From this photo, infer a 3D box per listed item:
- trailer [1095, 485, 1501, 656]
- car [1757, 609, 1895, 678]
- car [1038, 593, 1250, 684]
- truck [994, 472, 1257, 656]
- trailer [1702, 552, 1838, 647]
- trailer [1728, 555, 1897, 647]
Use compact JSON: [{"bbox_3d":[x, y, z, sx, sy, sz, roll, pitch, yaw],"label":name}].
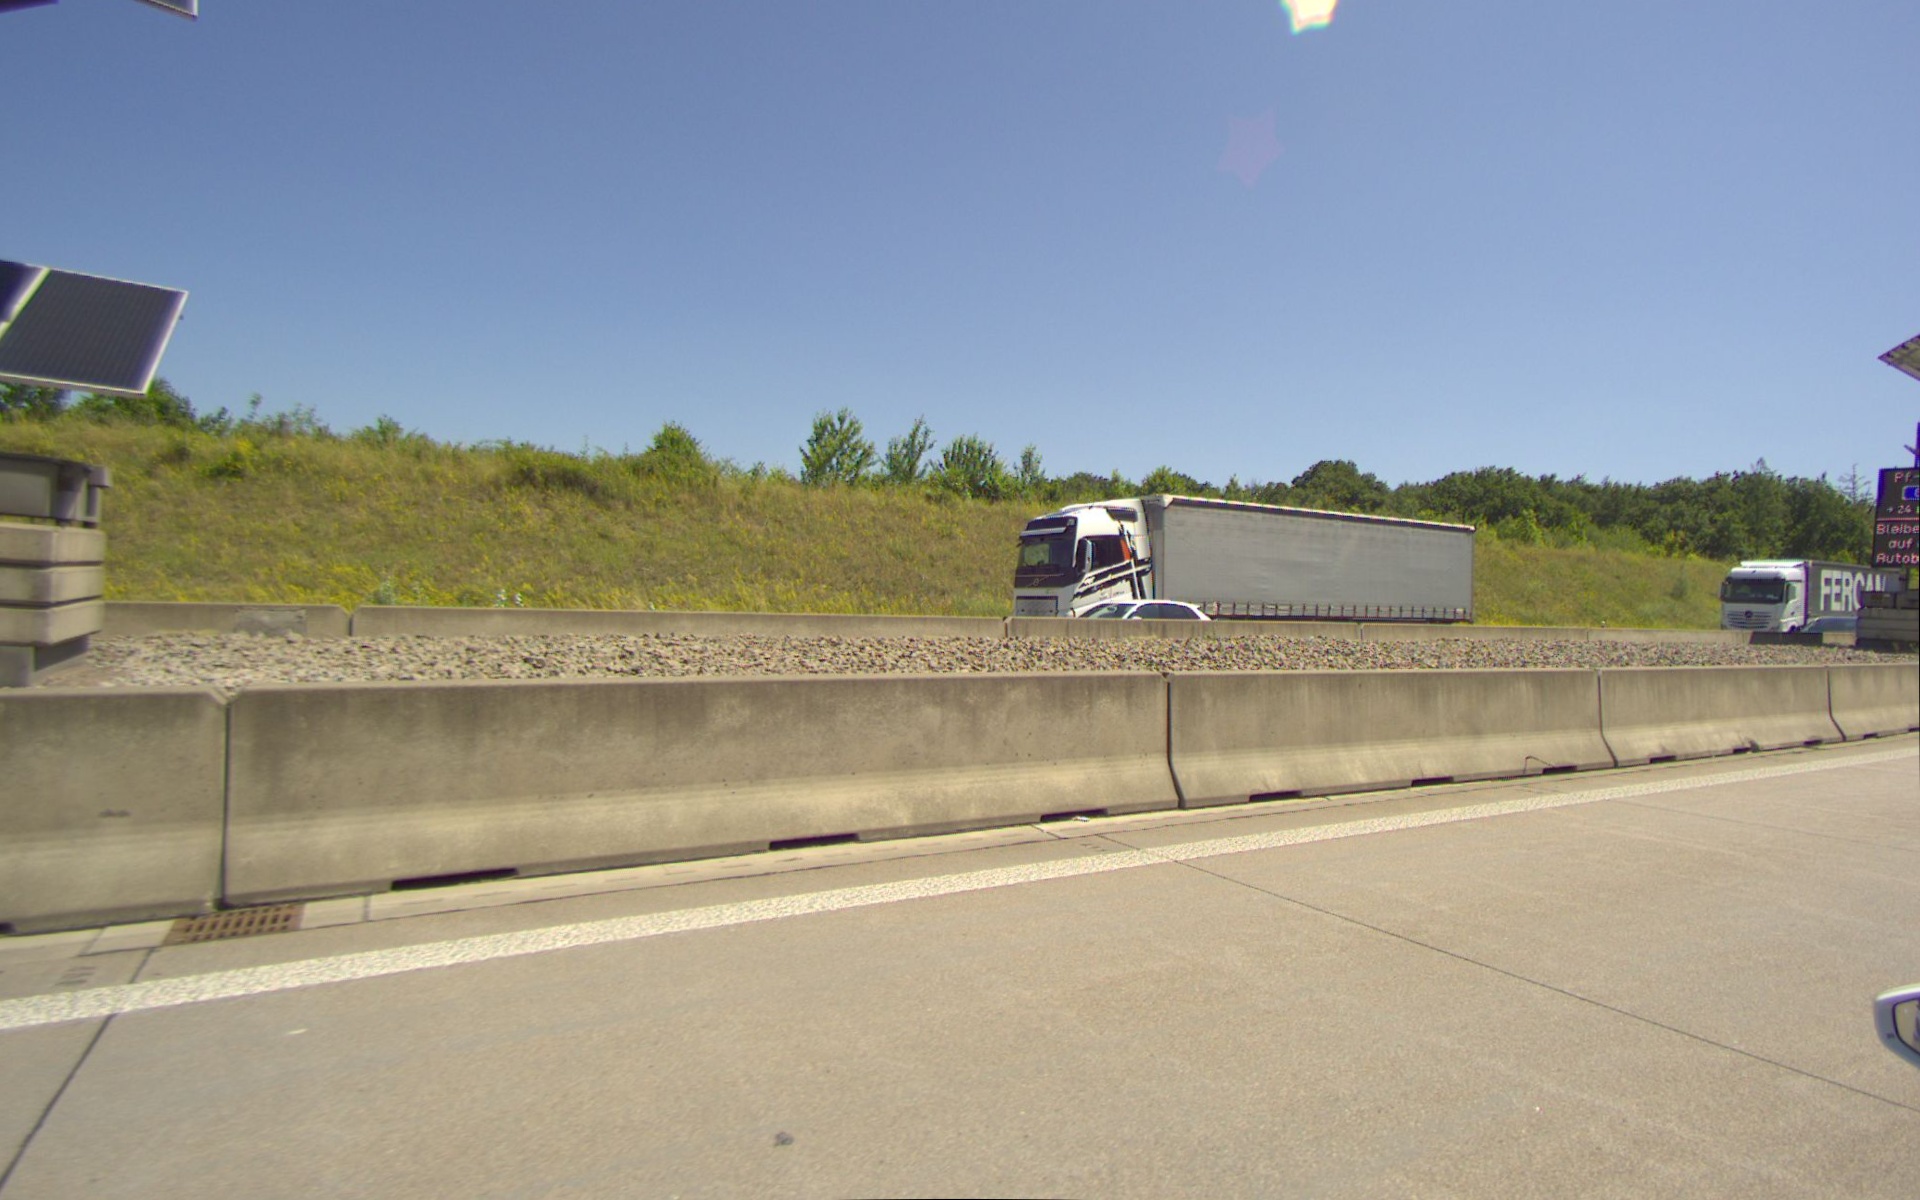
[{"bbox_3d":[10.540,-0.598,29.843,14.228,4.224,2.917,2,2,-32],"label":"trailer"},{"bbox_3d":[26.084,1.287,30.239,3.954,1.907,1.983,2,0,-31],"label":"car"},{"bbox_3d":[3.810,0.766,20.715,3.953,1.706,1.984,2,-1,-30],"label":"car"},{"bbox_3d":[4.304,-0.800,25.897,6.160,4.225,2.917,2,2,-32],"label":"truck"},{"bbox_3d":[38.662,0.012,47.895,6.818,4.225,2.915,2,2,-34],"label":"trailer"},{"bbox_3d":[43.724,0.169,51.282,13.051,4.224,2.915,2,2,-34],"label":"trailer"}]
